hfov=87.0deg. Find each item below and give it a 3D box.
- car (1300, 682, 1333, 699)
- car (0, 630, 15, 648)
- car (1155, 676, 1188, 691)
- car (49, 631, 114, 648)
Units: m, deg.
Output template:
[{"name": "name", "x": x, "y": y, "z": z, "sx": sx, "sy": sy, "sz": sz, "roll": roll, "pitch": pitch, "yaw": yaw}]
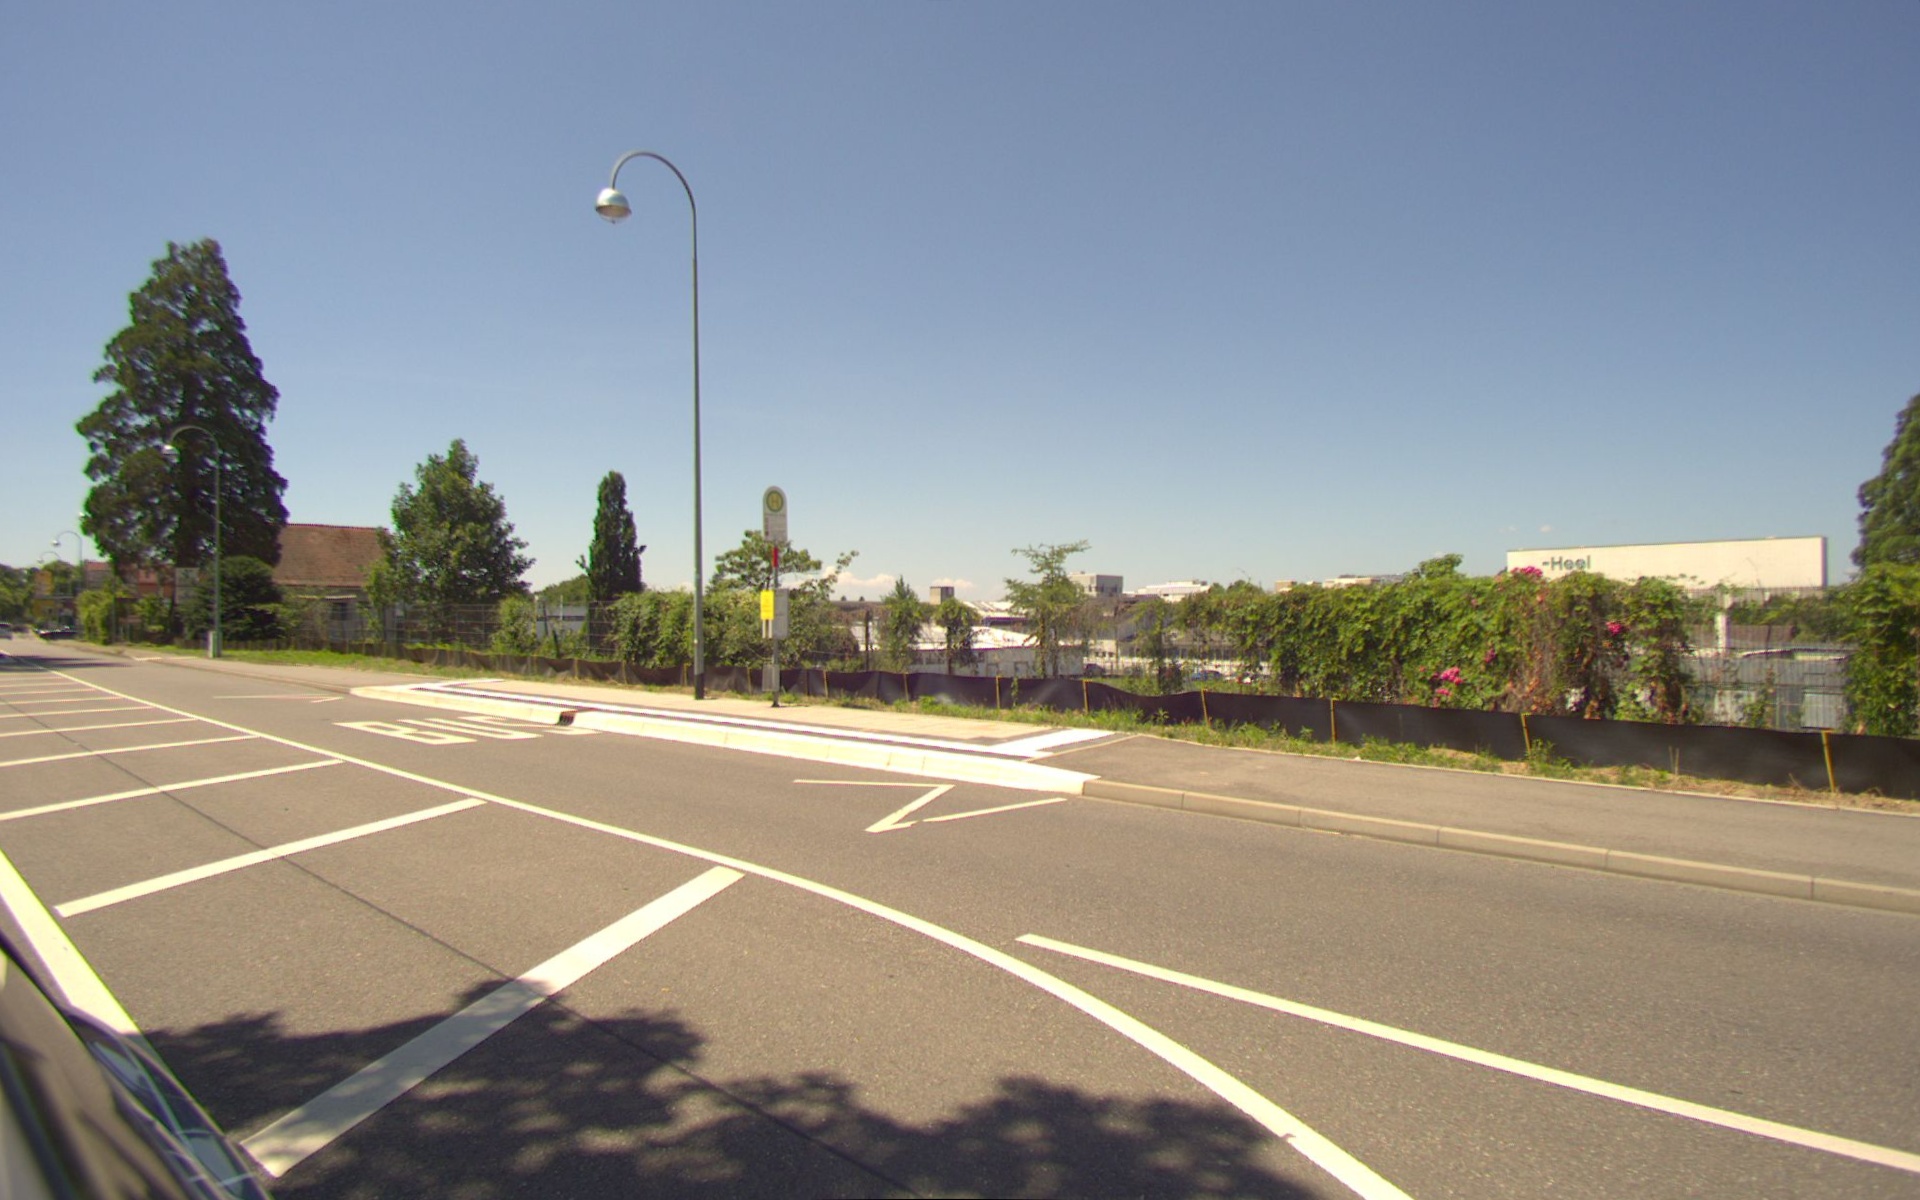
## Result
[{"name": "car", "x": 37.656, "y": 9.540, "z": 106.982, "sx": 1.999, "sy": 1.519, "sz": 3.945, "roll": -2, "pitch": -3, "yaw": 41}, {"name": "car", "x": -92.868, "y": 3.731, "z": 97.834, "sx": 4.689, "sy": 1.657, "sz": 1.763, "roll": -2, "pitch": -4, "yaw": 43}, {"name": "car", "x": 25.016, "y": 9.858, "z": 119.534, "sx": 3.940, "sy": 1.586, "sz": 2.002, "roll": 1, "pitch": -2, "yaw": -44}, {"name": "car", "x": -82.519, "y": 3.685, "z": 95.092, "sx": 4.246, "sy": 1.561, "sz": 1.891, "roll": 1, "pitch": -2, "yaw": -27}]
